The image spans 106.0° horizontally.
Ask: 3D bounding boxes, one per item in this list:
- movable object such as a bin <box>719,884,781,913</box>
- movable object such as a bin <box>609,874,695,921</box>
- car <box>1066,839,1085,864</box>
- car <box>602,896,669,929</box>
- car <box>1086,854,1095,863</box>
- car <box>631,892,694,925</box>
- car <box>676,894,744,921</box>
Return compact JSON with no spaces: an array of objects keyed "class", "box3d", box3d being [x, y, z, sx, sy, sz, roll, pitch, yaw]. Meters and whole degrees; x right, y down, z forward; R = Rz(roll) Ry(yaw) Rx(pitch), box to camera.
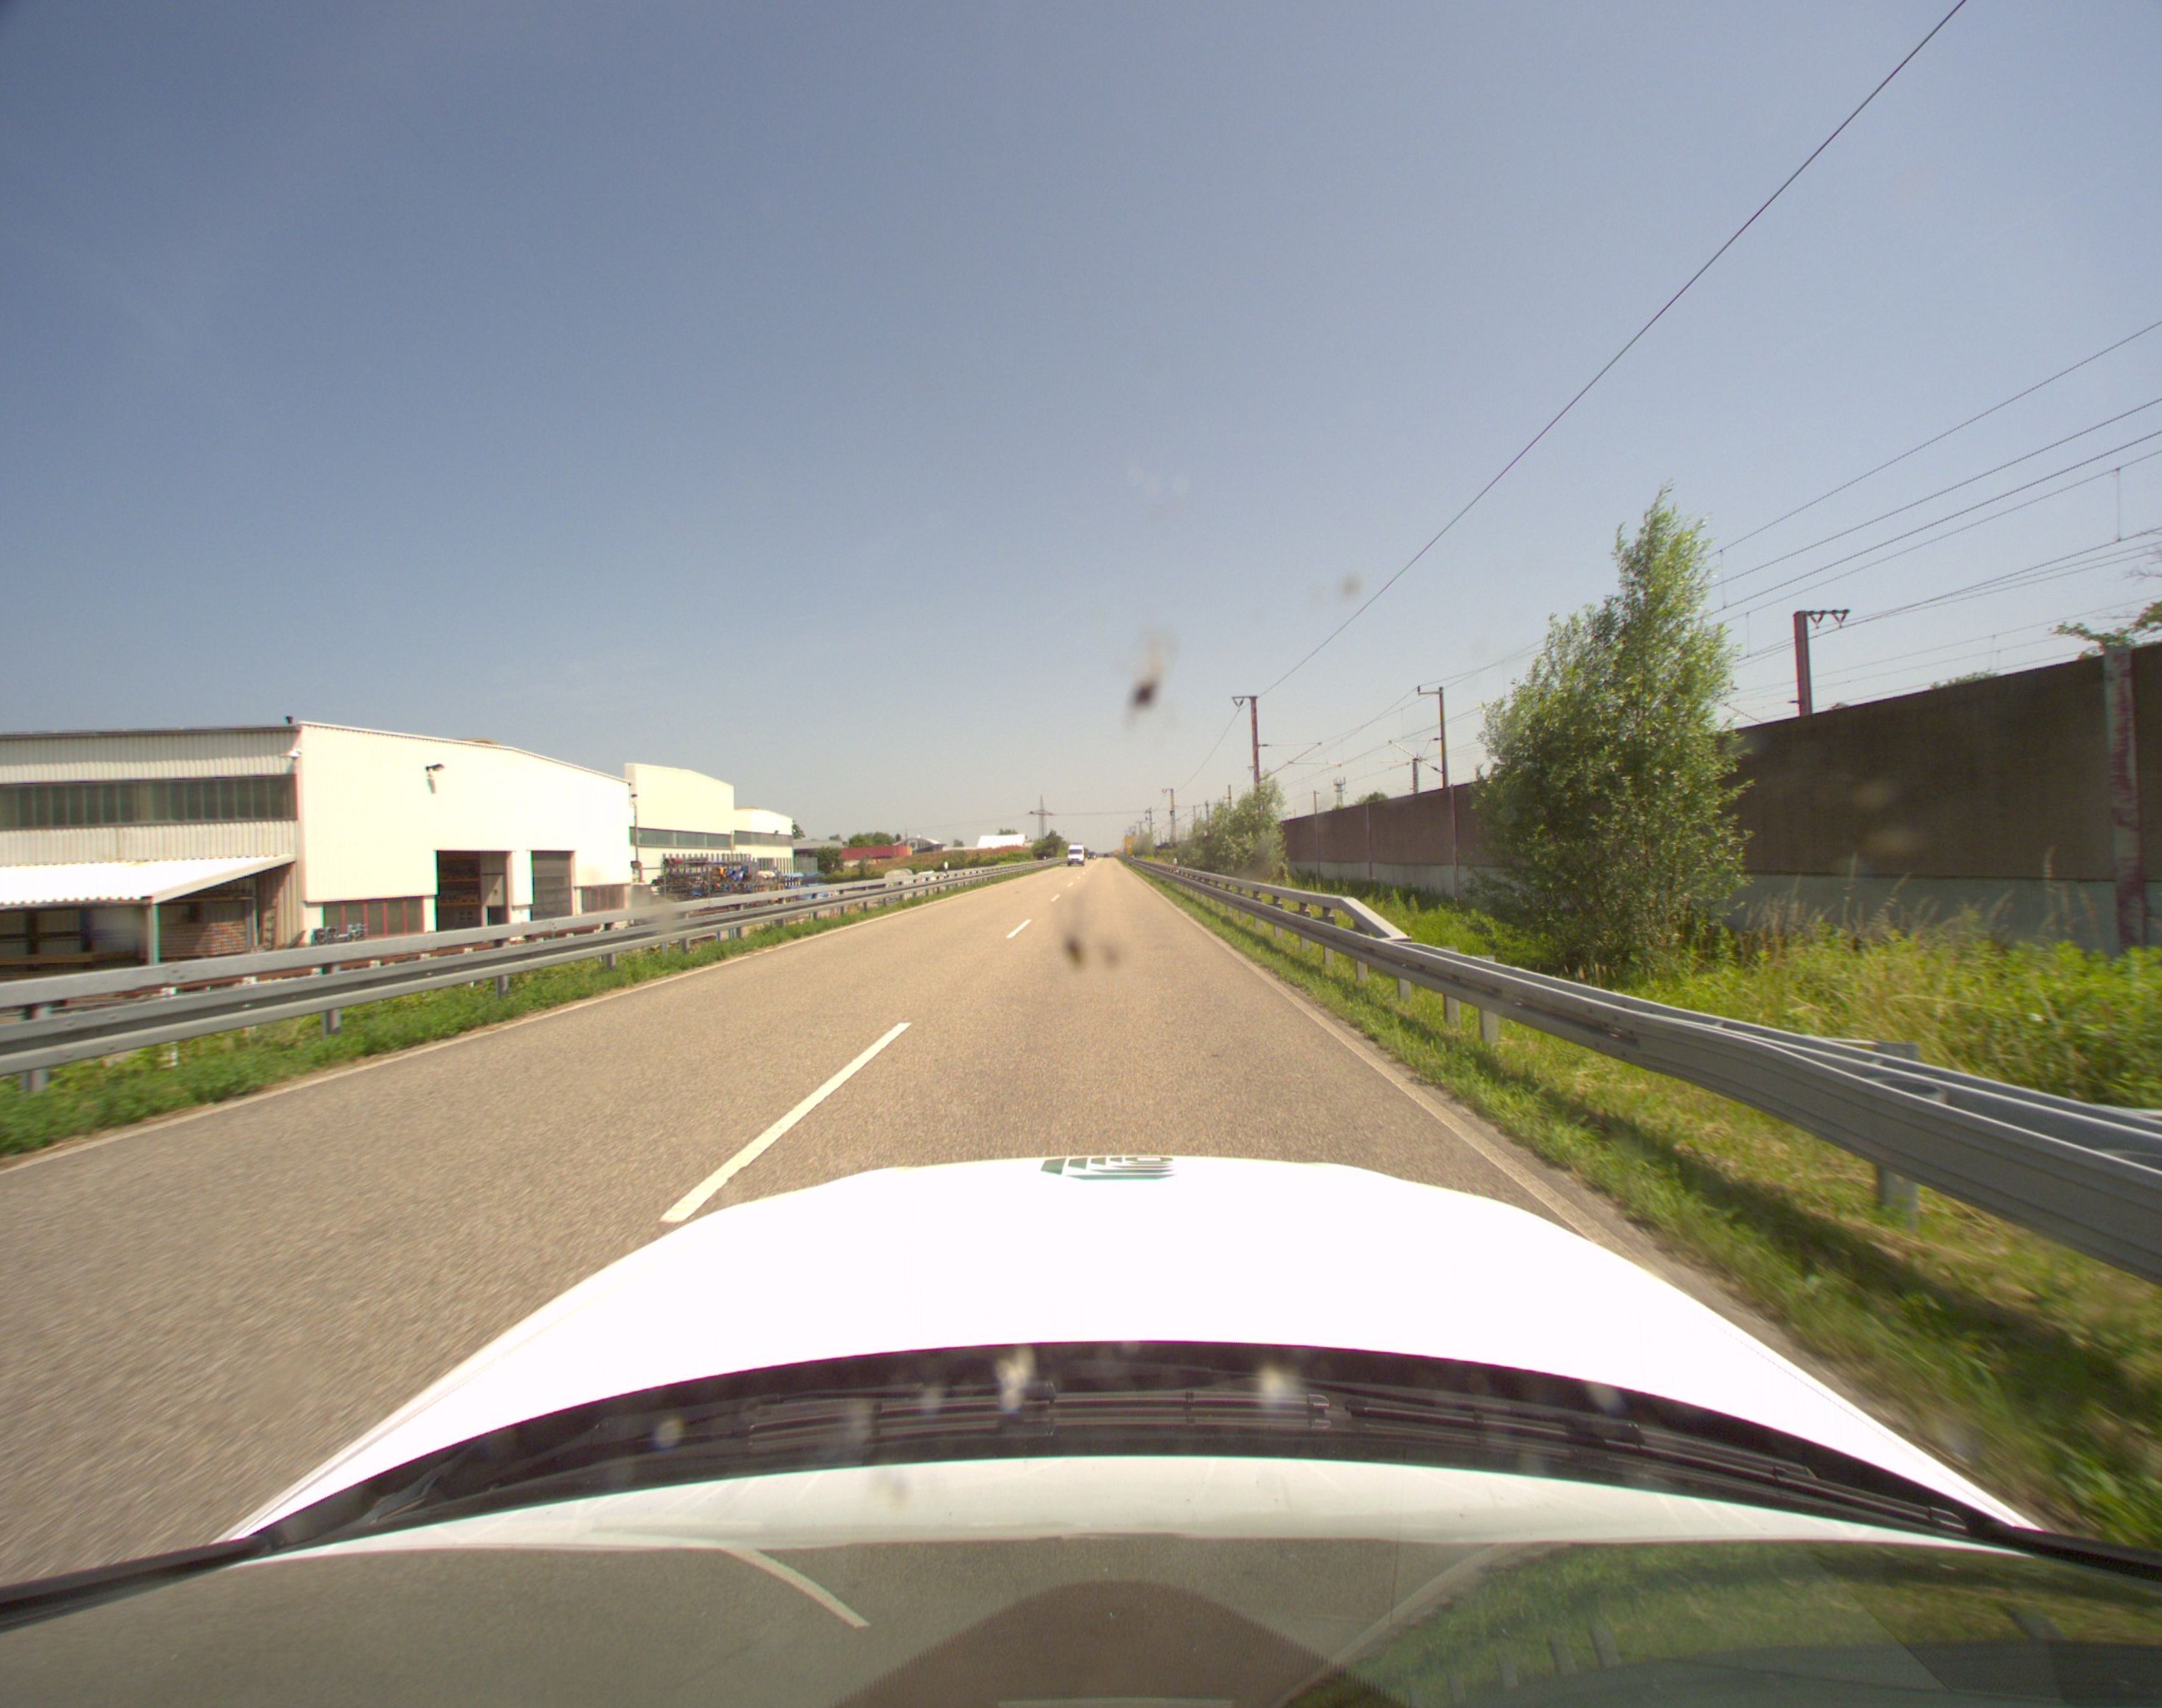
[{"class":"movable object such as a bin","box3d":[-24.628,3.312,60.639,3.856,2.014,1.848,0,-1,-6]},{"class":"movable object such as a bin","box3d":[-29.522,2.931,56.131,4.538,2.680,2.128,-6,-1,-7]},{"class":"car","box3d":[-0.655,-0.321,101.308,2.071,2.962,6.732,0,0,2]},{"class":"car","box3d":[-28.387,3.722,51.955,3.247,1.674,1.465,-6,-1,-4]},{"class":"car","box3d":[2.235,1.072,193.006,1.886,2.014,5.371,0,0,1]},{"class":"car","box3d":[-27.746,3.597,54.028,3.123,1.773,1.674,-6,-1,-2]},{"class":"car","box3d":[-26.590,3.794,58.419,3.980,1.520,1.722,-4,0,-4]}]
